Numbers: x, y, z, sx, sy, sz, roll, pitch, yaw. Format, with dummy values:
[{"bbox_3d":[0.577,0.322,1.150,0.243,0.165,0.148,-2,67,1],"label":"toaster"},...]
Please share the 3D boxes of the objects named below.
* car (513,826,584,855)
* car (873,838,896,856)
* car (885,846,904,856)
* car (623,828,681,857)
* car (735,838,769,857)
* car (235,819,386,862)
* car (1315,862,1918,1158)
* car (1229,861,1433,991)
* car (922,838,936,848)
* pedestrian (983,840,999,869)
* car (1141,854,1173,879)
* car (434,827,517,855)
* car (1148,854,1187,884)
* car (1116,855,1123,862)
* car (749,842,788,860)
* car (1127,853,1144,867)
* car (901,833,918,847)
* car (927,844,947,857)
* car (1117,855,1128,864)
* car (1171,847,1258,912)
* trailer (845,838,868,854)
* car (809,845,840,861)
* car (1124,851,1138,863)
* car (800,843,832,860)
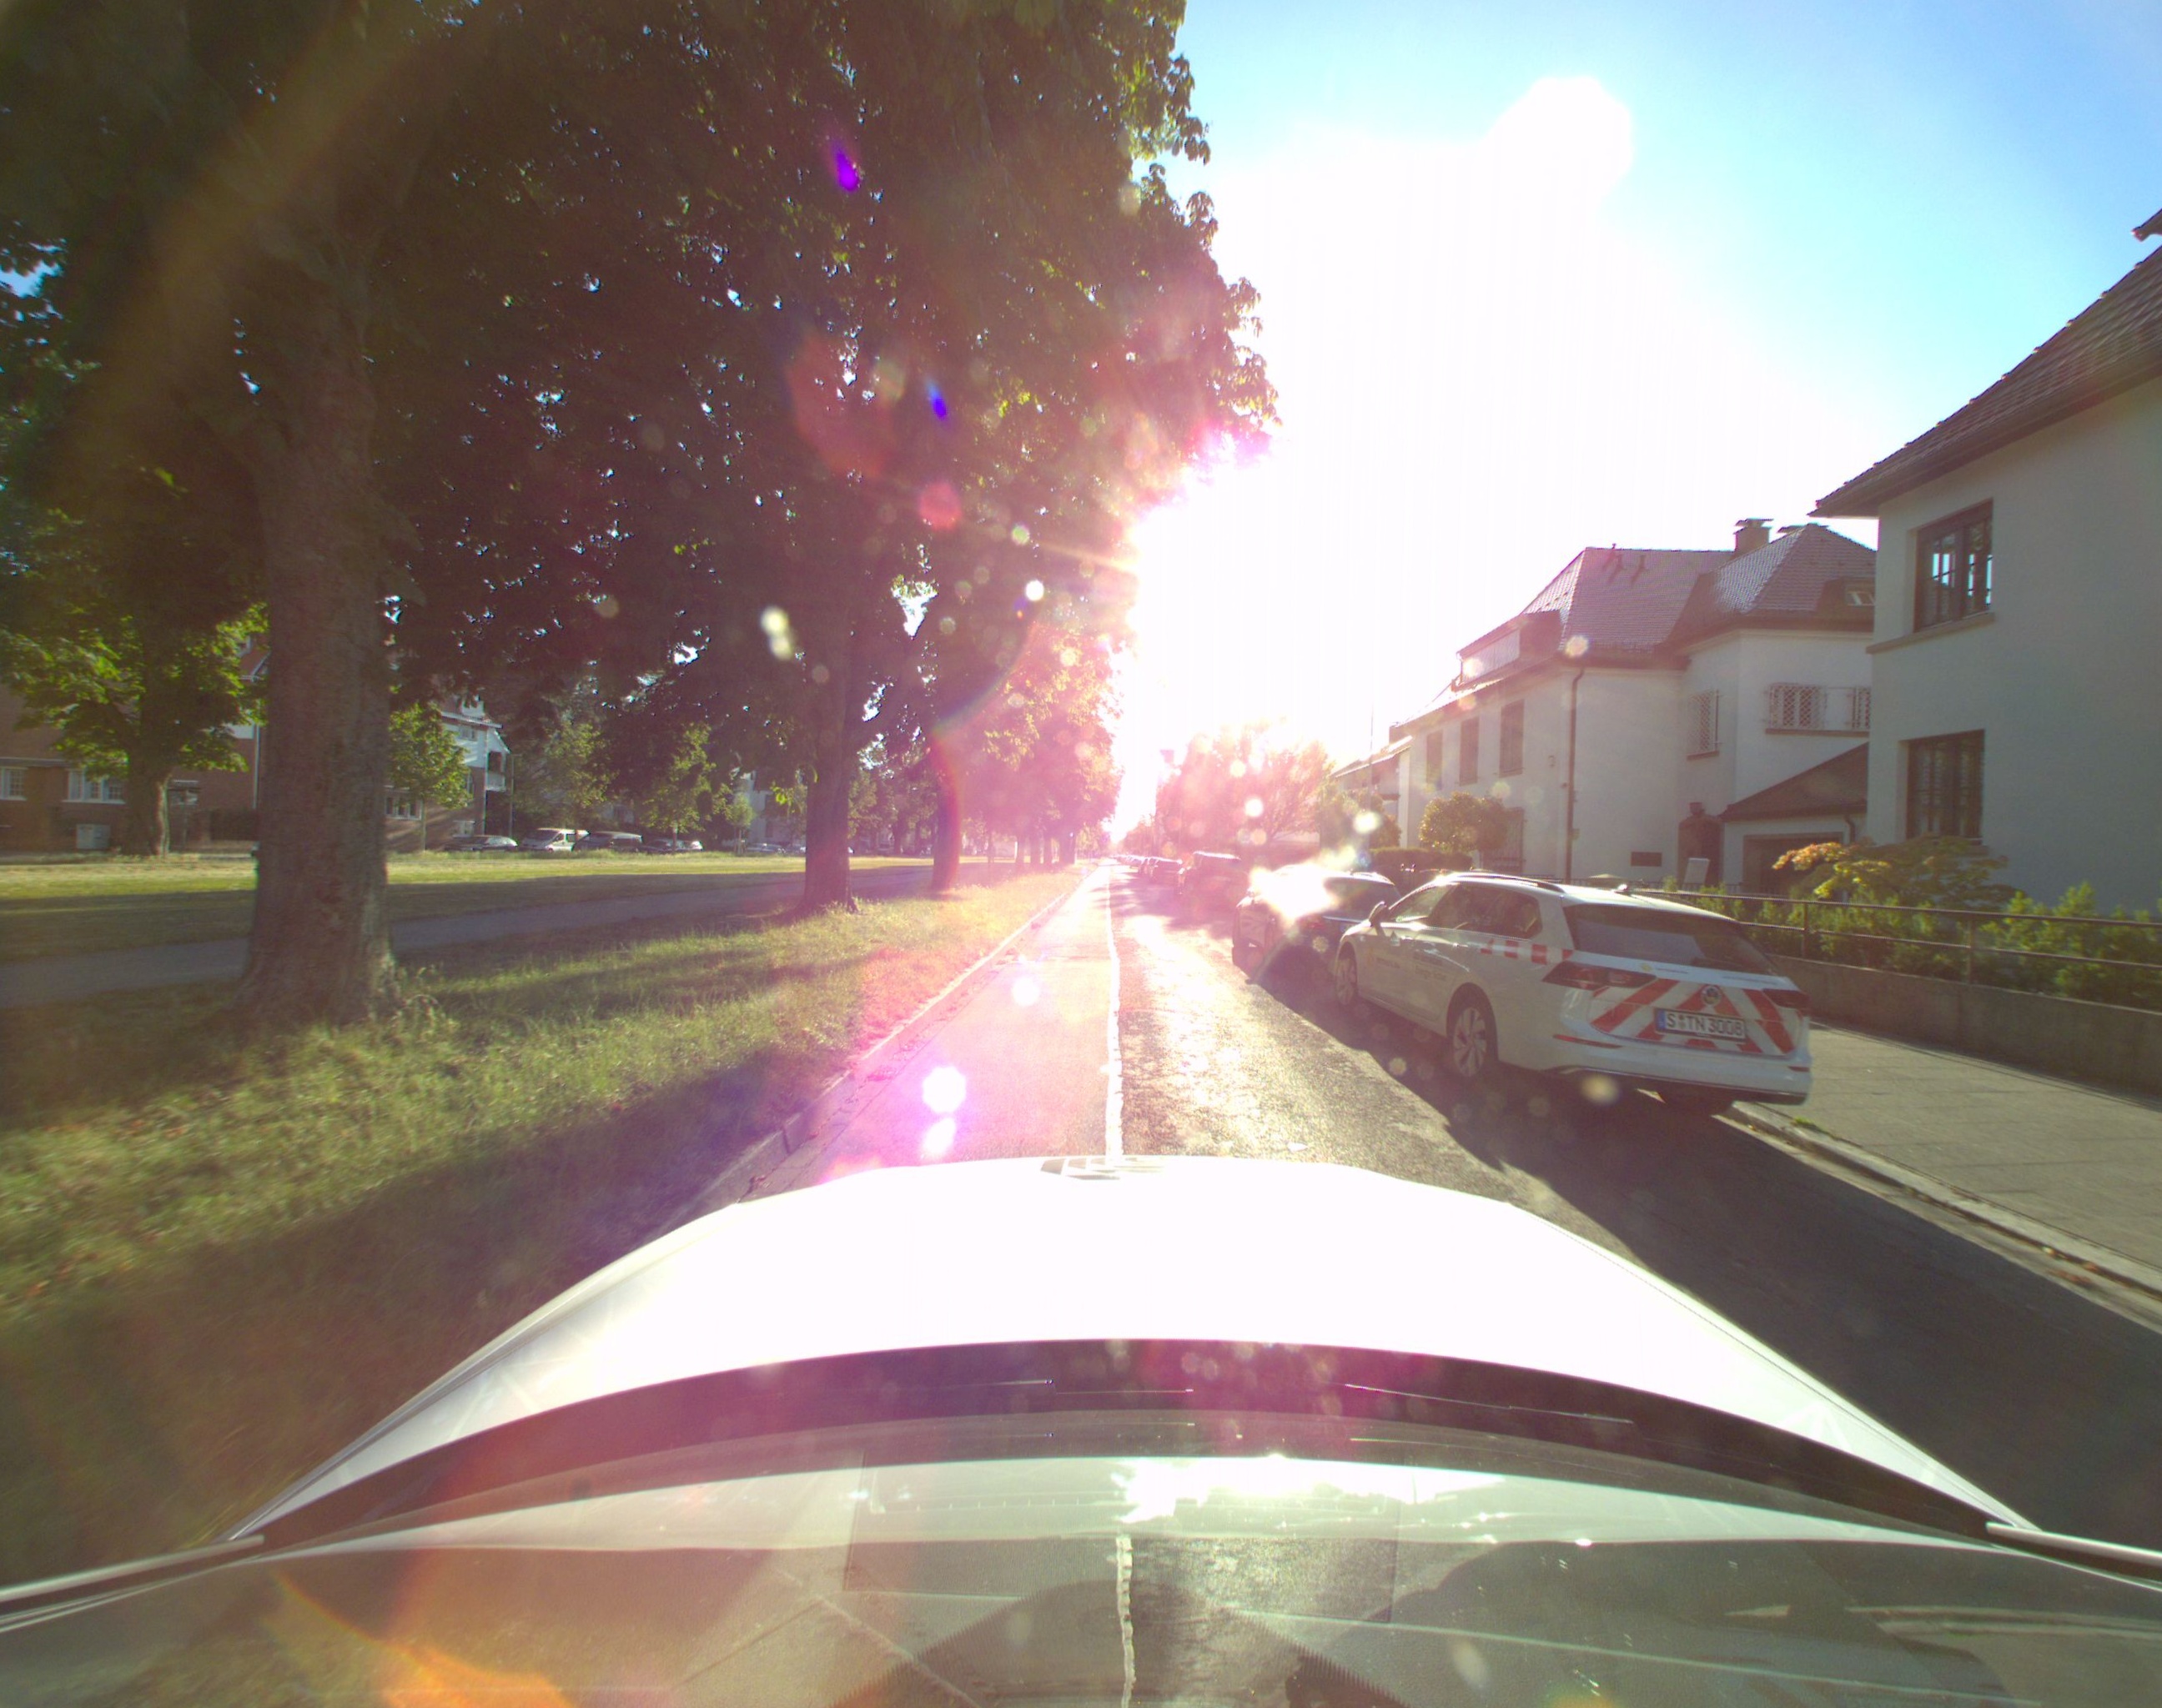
[{"bbox_3d":[-37.198,-0.915,57.032,1.809,1.838,4.411,2,0,2],"label":"car"},{"bbox_3d":[-34.464,-1.199,143.118,2.428,2.922,5.820,0,-1,2],"label":"car"},{"bbox_3d":[-29.013,-0.461,126.720,1.678,1.559,4.317,2,0,3],"label":"car"},{"bbox_3d":[-31.777,-0.813,60.448,1.986,2.013,4.002,3,0,2],"label":"car"},{"bbox_3d":[-36.346,-0.714,90.104,2.023,2.014,4.003,-1,-1,3],"label":"car"},{"bbox_3d":[-32.418,-0.532,34.506,1.812,1.639,4.652,2,0,2],"label":"car"},{"bbox_3d":[3.692,0.906,6.877,1.988,1.464,4.548,5,0,-1],"label":"car"},{"bbox_3d":[3.572,0.924,12.582,1.773,1.463,4.595,5,0,2],"label":"car"},{"bbox_3d":[-33.749,-2.508,180.703,1.986,2.014,4.485,-1,-2,2],"label":"car"},{"bbox_3d":[-5.660,0.024,51.016,0.720,1.758,0.995,2,0,8],"label":"pedestrian"},{"bbox_3d":[5.263,0.829,56.805,1.687,1.483,3.926,6,0,-2],"label":"car"},{"bbox_3d":[-37.891,-0.808,51.114,1.750,1.623,4.308,2,0,2],"label":"car"},{"bbox_3d":[4.849,0.826,46.239,1.786,1.492,4.675,2,0,1],"label":"car"},{"bbox_3d":[10.665,1.279,224.218,1.972,1.683,4.003,2,0,3],"label":"car"},{"bbox_3d":[-30.978,-0.271,80.819,1.984,1.684,4.005,2,0,4],"label":"car"},{"bbox_3d":[6.583,0.727,99.053,1.750,1.419,4.074,8,0,2],"label":"car"},{"bbox_3d":[-28.905,-2.329,137.070,1.678,2.175,4.318,2,0,3],"label":"car"},{"bbox_3d":[-27.541,-0.681,155.596,2.524,2.236,5.462,1,0,2],"label":"car"},{"bbox_3d":[7.824,0.966,152.942,1.755,1.521,4.000,3,0,1],"label":"car"},{"bbox_3d":[4.245,0.754,26.687,1.987,1.737,4.864,5,0,1],"label":"car"},{"bbox_3d":[-34.866,-1.188,126.541,1.985,2.428,4.727,2,0,2],"label":"trailer"},{"bbox_3d":[-30.728,-0.122,97.674,1.985,1.860,4.259,2,0,3],"label":"car"},{"bbox_3d":[7.491,0.447,122.146,1.752,1.605,4.359,1,0,1],"label":"car"},{"bbox_3d":[-30.050,-0.251,92.578,1.985,1.721,4.259,2,0,3],"label":"car"}]
